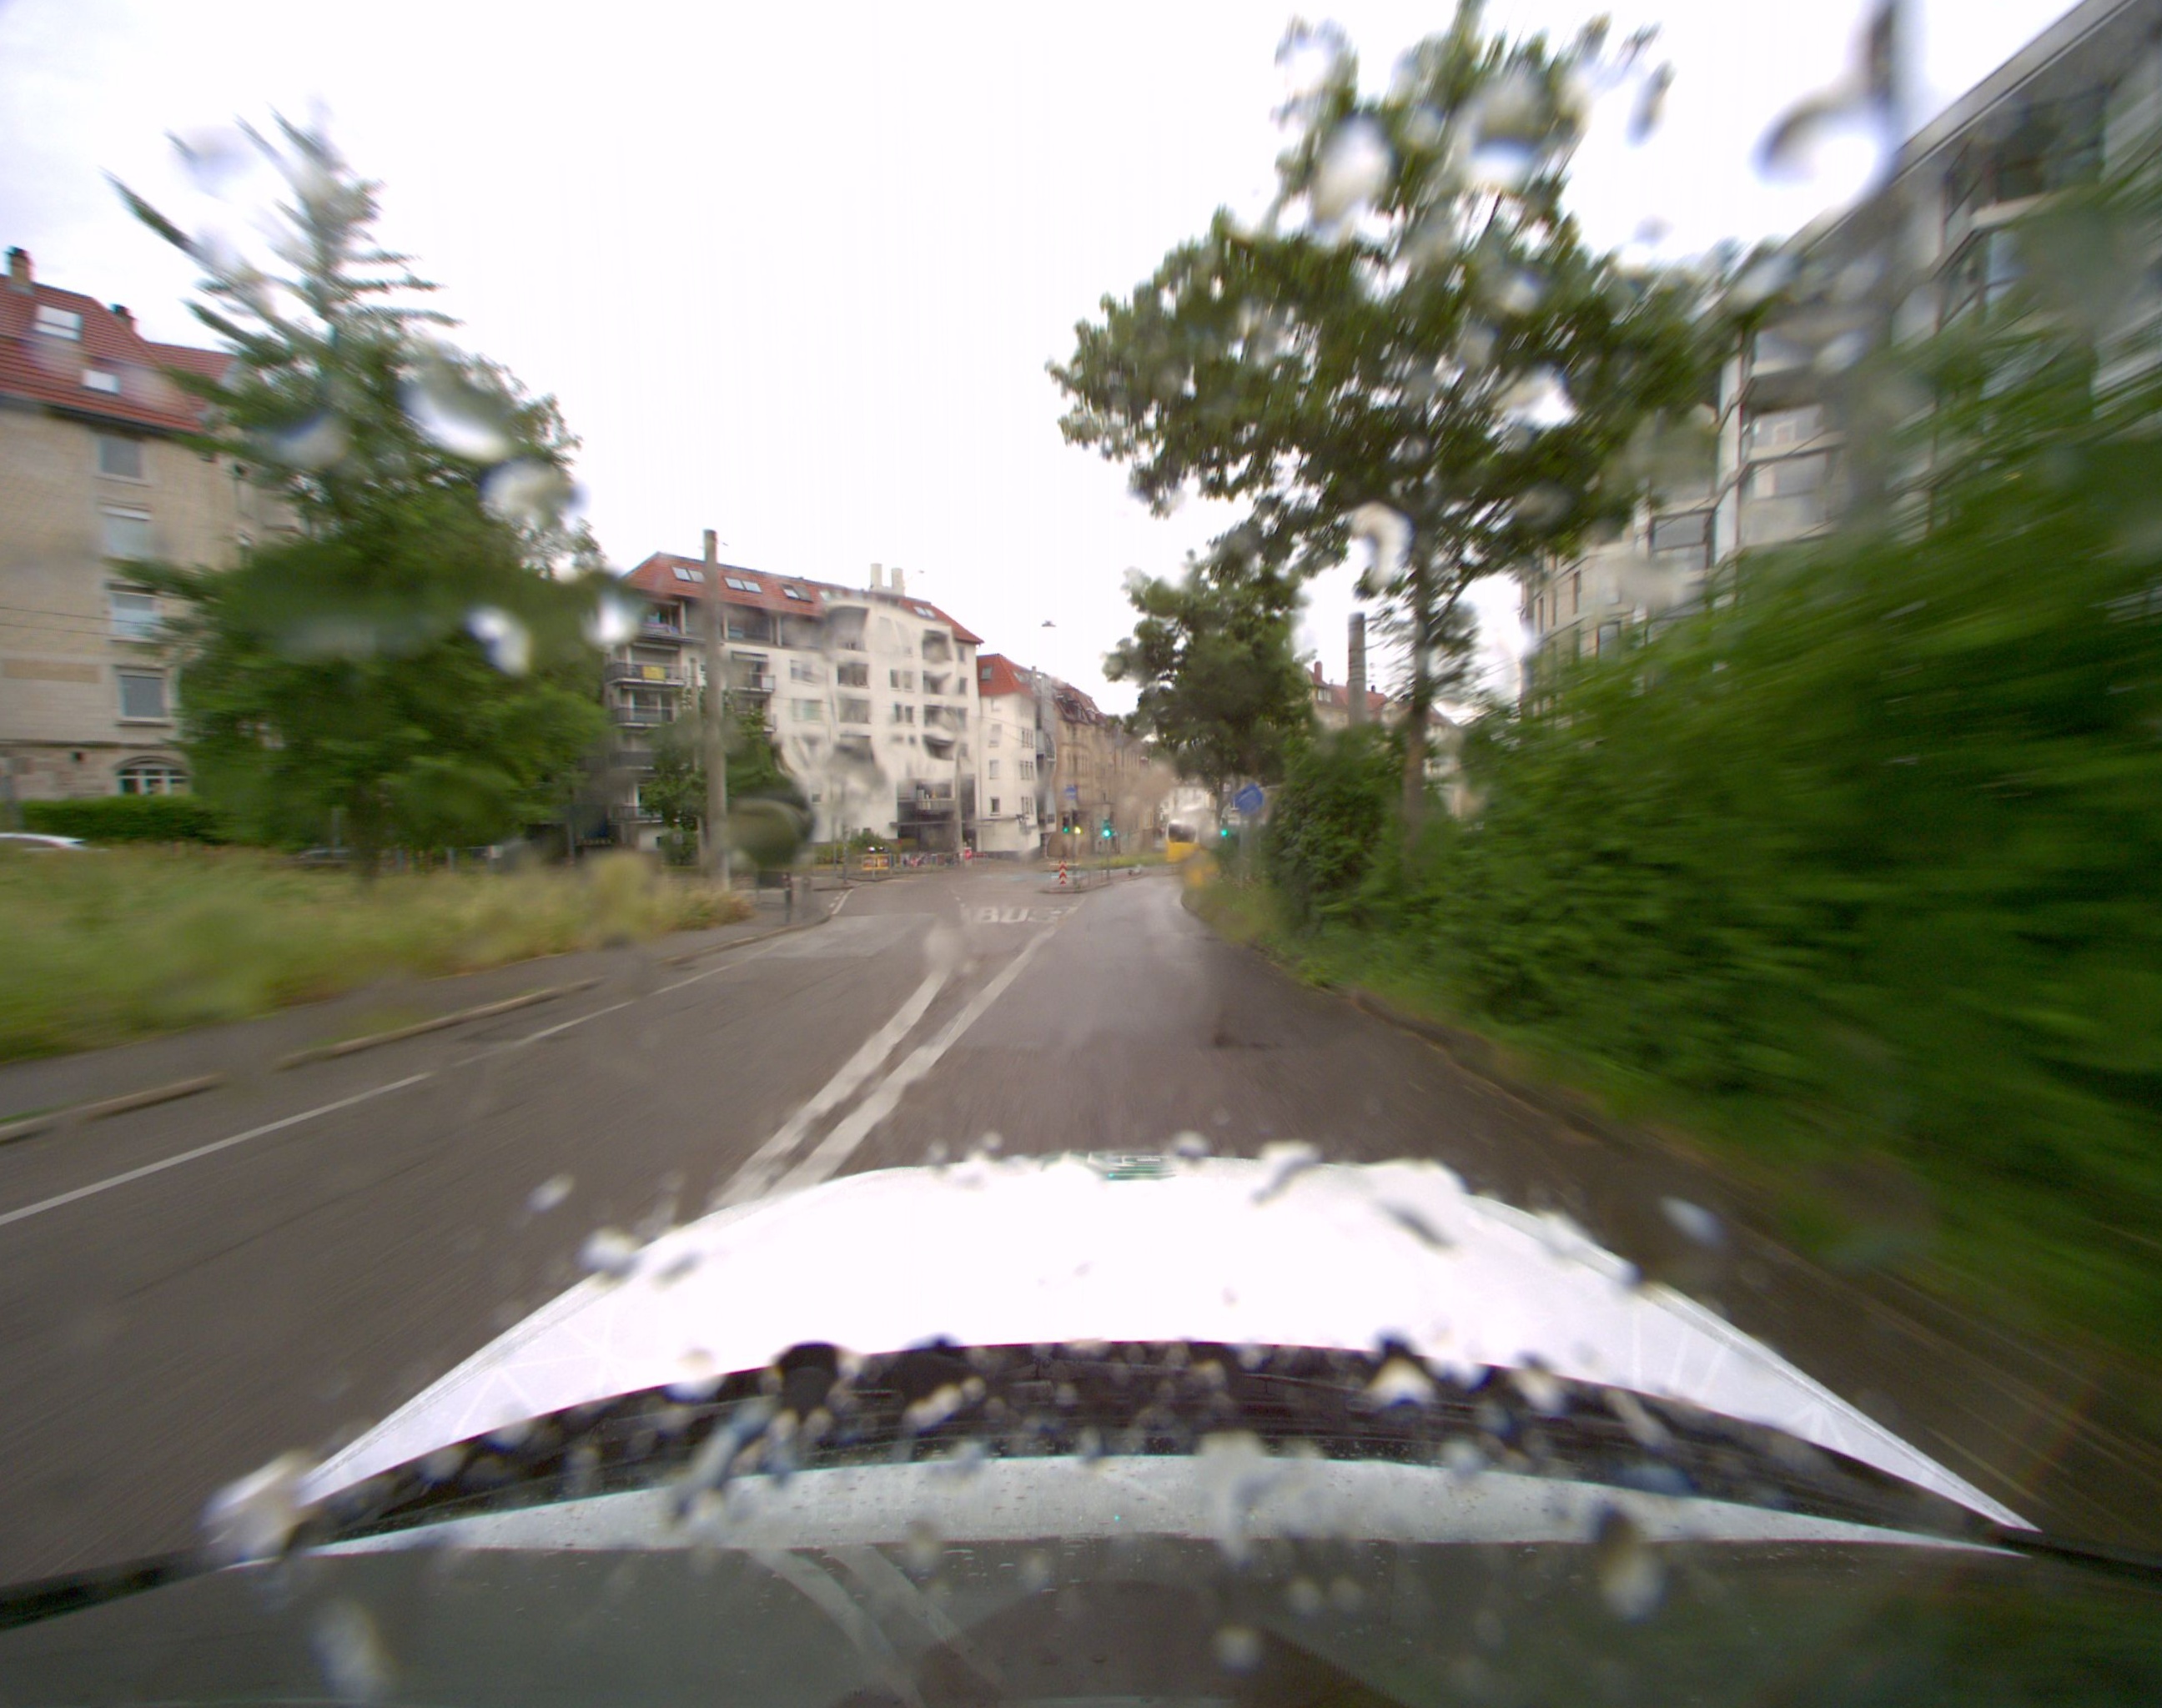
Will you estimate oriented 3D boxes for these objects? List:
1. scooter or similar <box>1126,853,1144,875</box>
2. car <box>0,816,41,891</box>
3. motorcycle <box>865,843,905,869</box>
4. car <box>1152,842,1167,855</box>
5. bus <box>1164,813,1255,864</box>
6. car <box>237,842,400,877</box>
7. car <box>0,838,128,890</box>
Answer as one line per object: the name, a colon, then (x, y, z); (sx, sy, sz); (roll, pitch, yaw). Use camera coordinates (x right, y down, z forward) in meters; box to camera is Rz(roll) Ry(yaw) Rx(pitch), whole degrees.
scooter or similar: (2.881, 0.508, 43.336); (0.429, 1.113, 1.613); (1, 1, 21)
car: (-30.908, 0.009, 21.463); (4.022, 2.013, 1.976); (-1, 1, -42)
motorcycle: (-12.141, 0.105, 50.546); (0.690, 1.550, 2.456); (5, 3, 37)
car: (12.682, -0.905, 132.150); (2.129, 2.136, 4.858); (1, 0, 1)
bus: (9.560, -1.072, 59.482); (2.565, 3.469, 9.165); (0, 0, 36)
car: (-28.483, 0.178, 30.600); (4.380, 1.223, 1.732); (0, 0, -42)
car: (-33.717, 0.292, 25.841); (1.975, 1.593, 4.382); (0, 0, 45)
